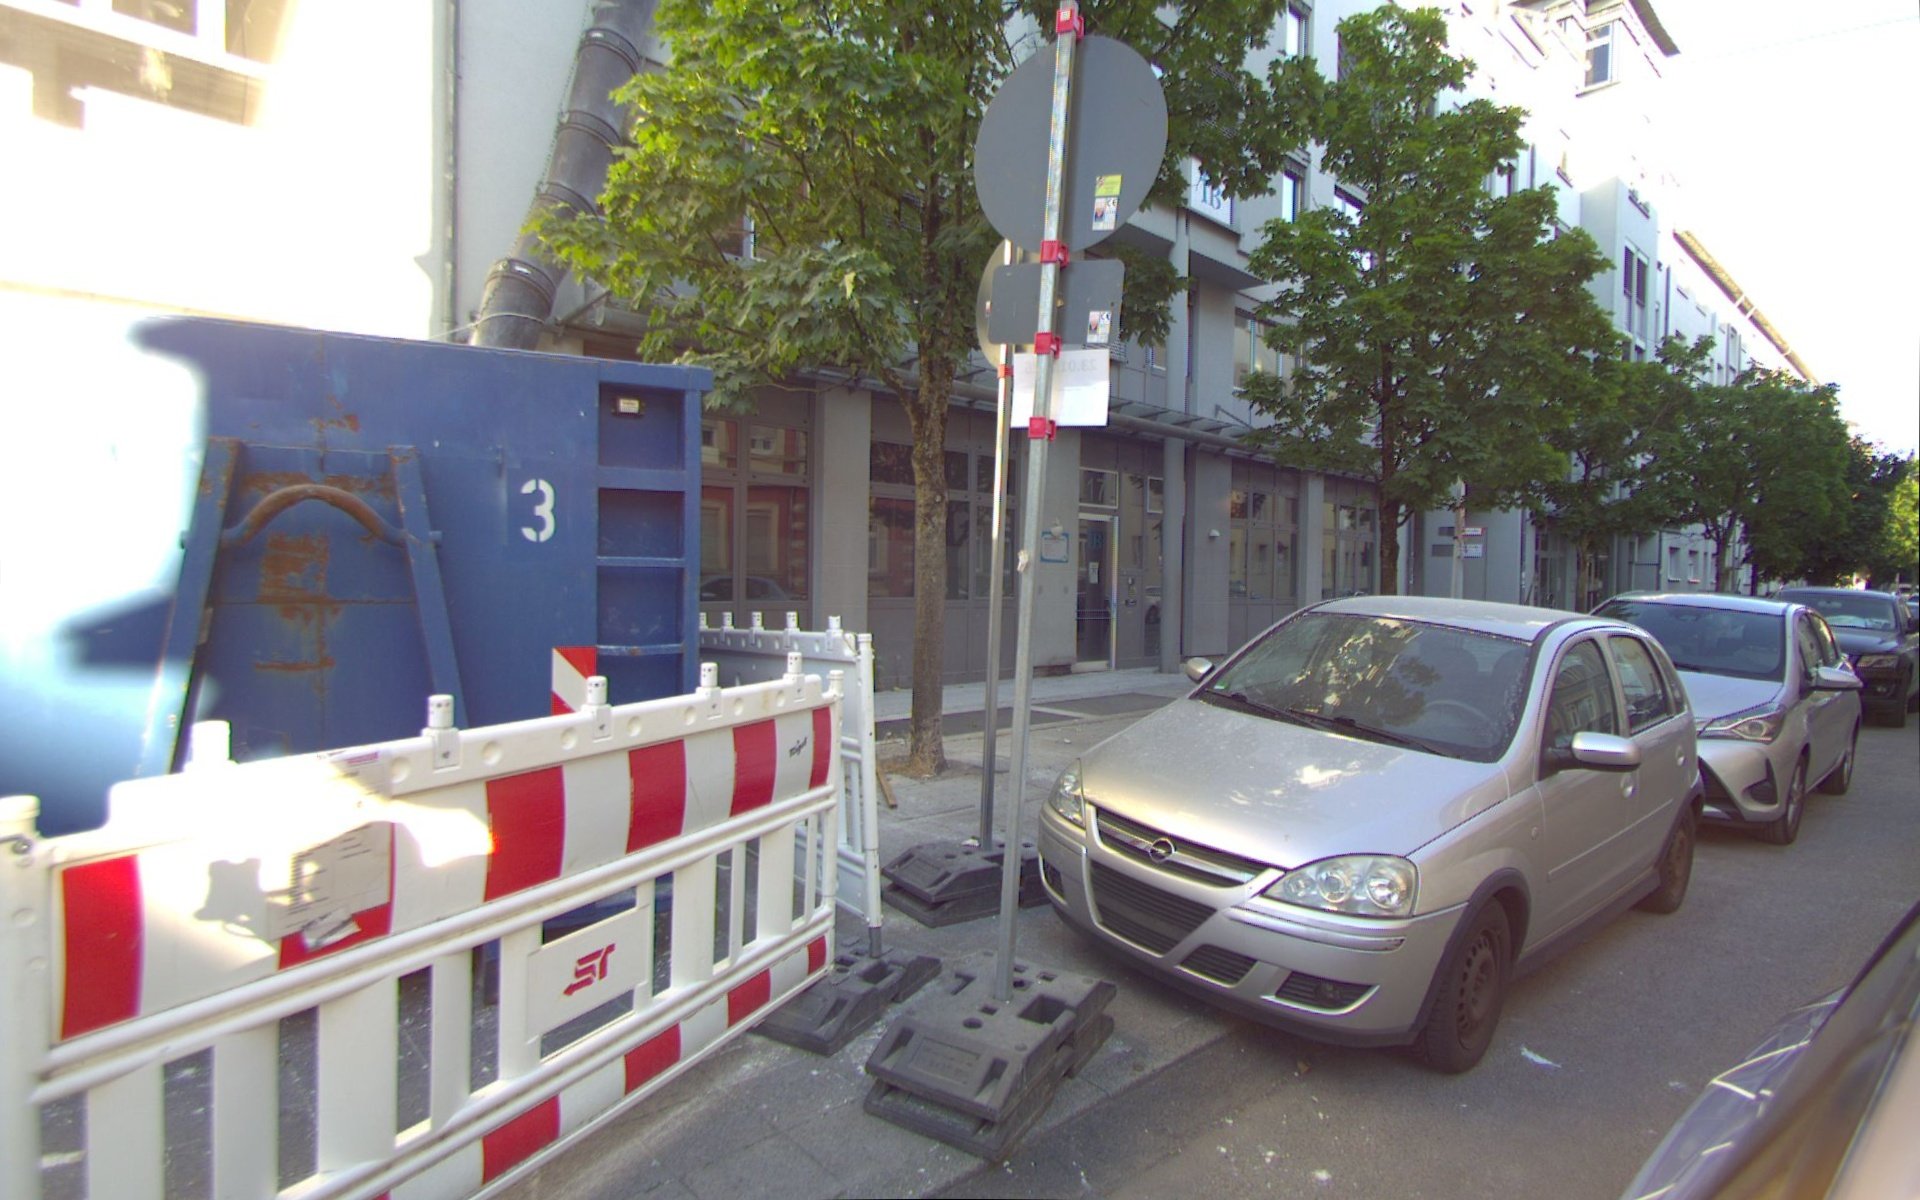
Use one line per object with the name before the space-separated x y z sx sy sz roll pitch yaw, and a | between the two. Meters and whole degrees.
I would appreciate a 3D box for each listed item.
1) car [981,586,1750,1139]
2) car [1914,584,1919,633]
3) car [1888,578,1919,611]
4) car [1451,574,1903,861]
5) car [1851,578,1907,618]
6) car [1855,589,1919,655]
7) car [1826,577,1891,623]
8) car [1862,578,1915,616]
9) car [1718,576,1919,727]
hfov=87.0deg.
car | 2.121 0.683 4.643 3.995 1.465 1.637 0 1 -41
car | 35.148 0.301 35.877 1.851 1.680 3.936 1 1 44
car | 61.065 -0.353 64.939 3.935 2.039 1.995 0 1 -45
car | 5.551 0.626 7.663 3.930 1.605 1.911 0 1 -41
car | 48.589 -0.118 53.501 3.935 2.039 1.995 0 1 -45
car | 23.329 0.495 24.784 3.935 1.507 1.852 0 1 -45
car | 41.809 -0.015 47.072 3.935 2.039 1.995 0 1 -45
car | 51.837 -0.215 56.492 3.935 2.039 1.995 0 1 -45
car | 11.878 0.558 13.633 4.315 1.710 1.861 0 1 -42
